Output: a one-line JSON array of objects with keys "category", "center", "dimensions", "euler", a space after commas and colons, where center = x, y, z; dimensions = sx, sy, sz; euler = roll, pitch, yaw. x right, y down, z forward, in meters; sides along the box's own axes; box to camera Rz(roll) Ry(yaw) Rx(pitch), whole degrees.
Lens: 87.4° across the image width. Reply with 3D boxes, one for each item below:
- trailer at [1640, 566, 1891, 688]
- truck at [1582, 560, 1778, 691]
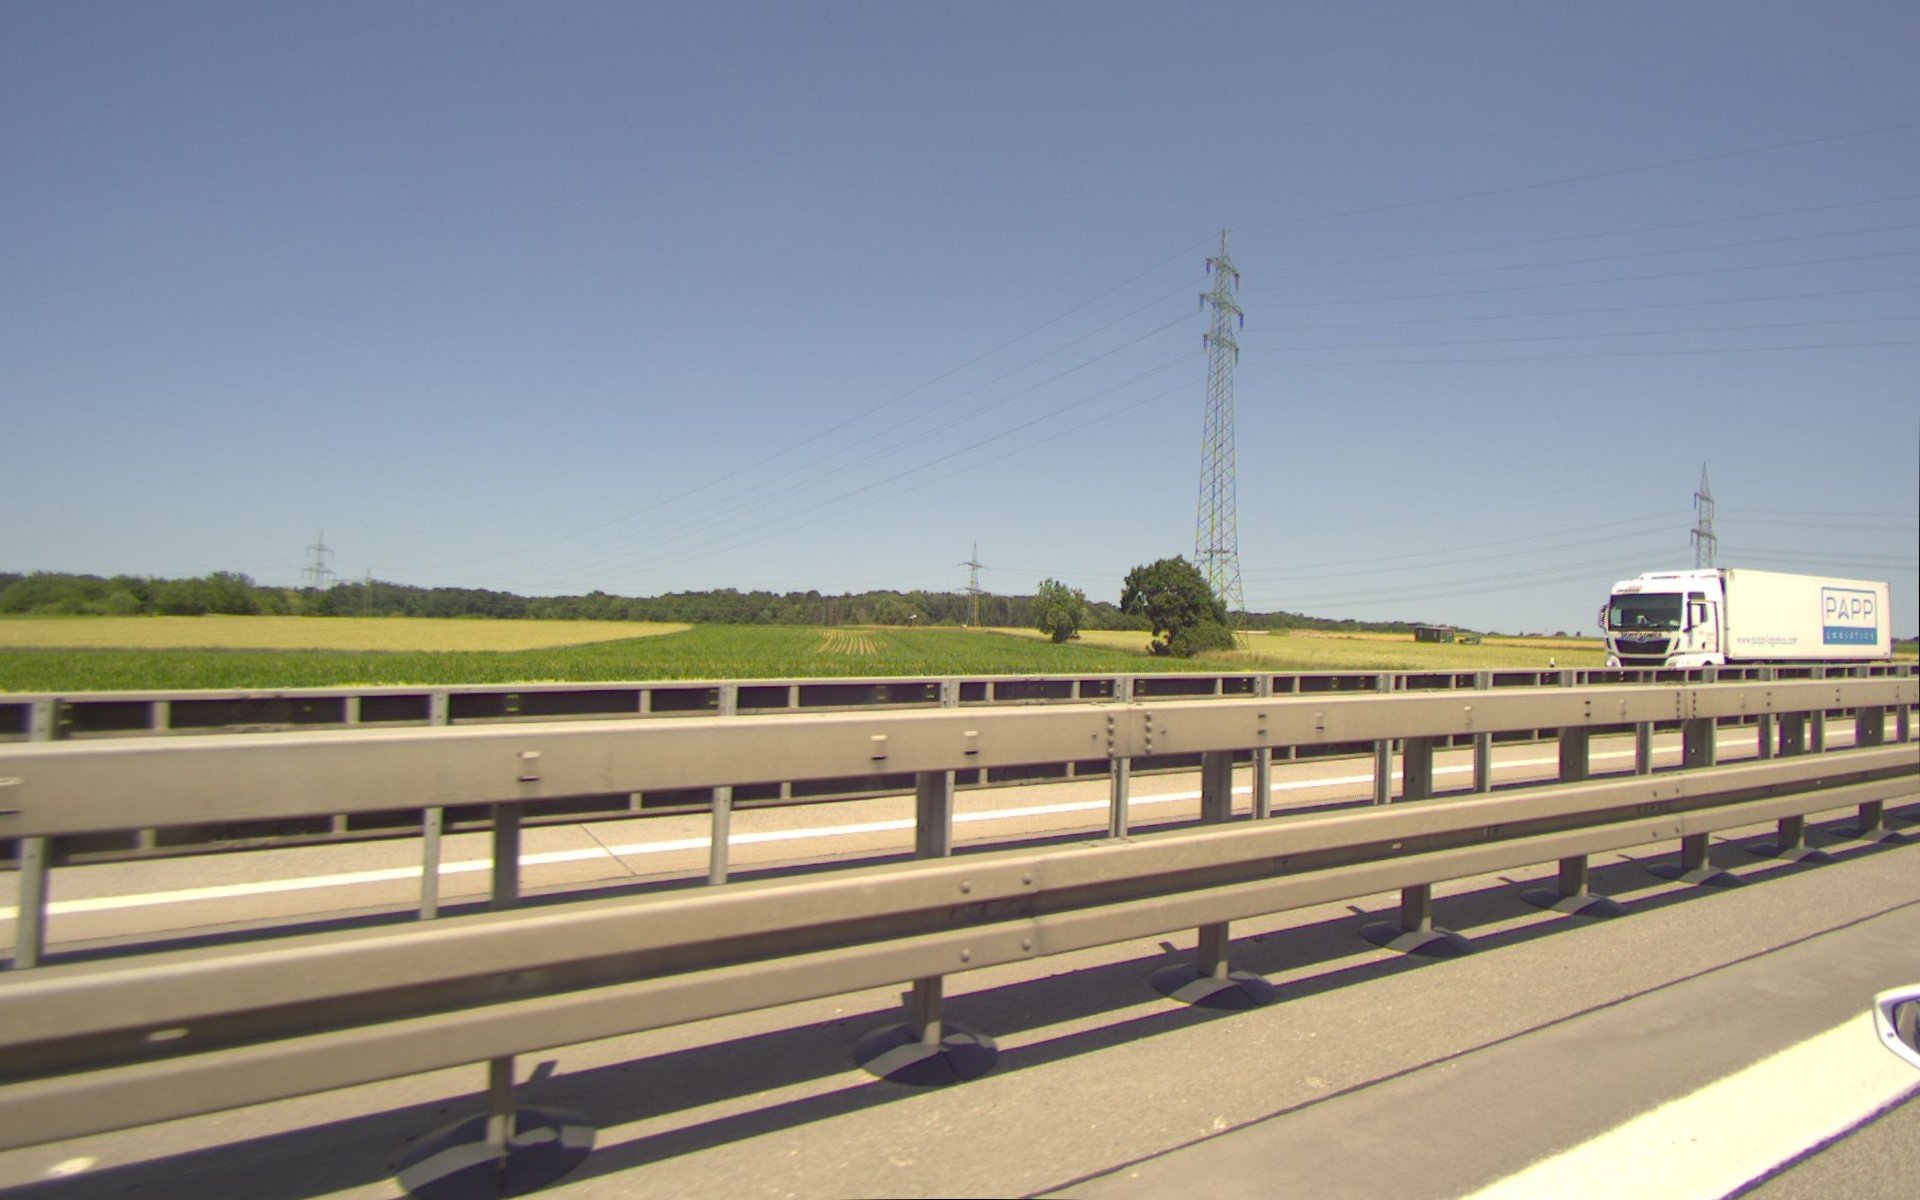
[{"category": "trailer", "center": [30.054, 1.090, 37.154], "dimensions": [12.746, 3.970, 2.943], "euler": [2, 0, -31]}, {"category": "truck", "center": [24.104, 0.879, 33.591], "dimensions": [6.402, 3.982, 2.925], "euler": [2, 0, -30]}]
